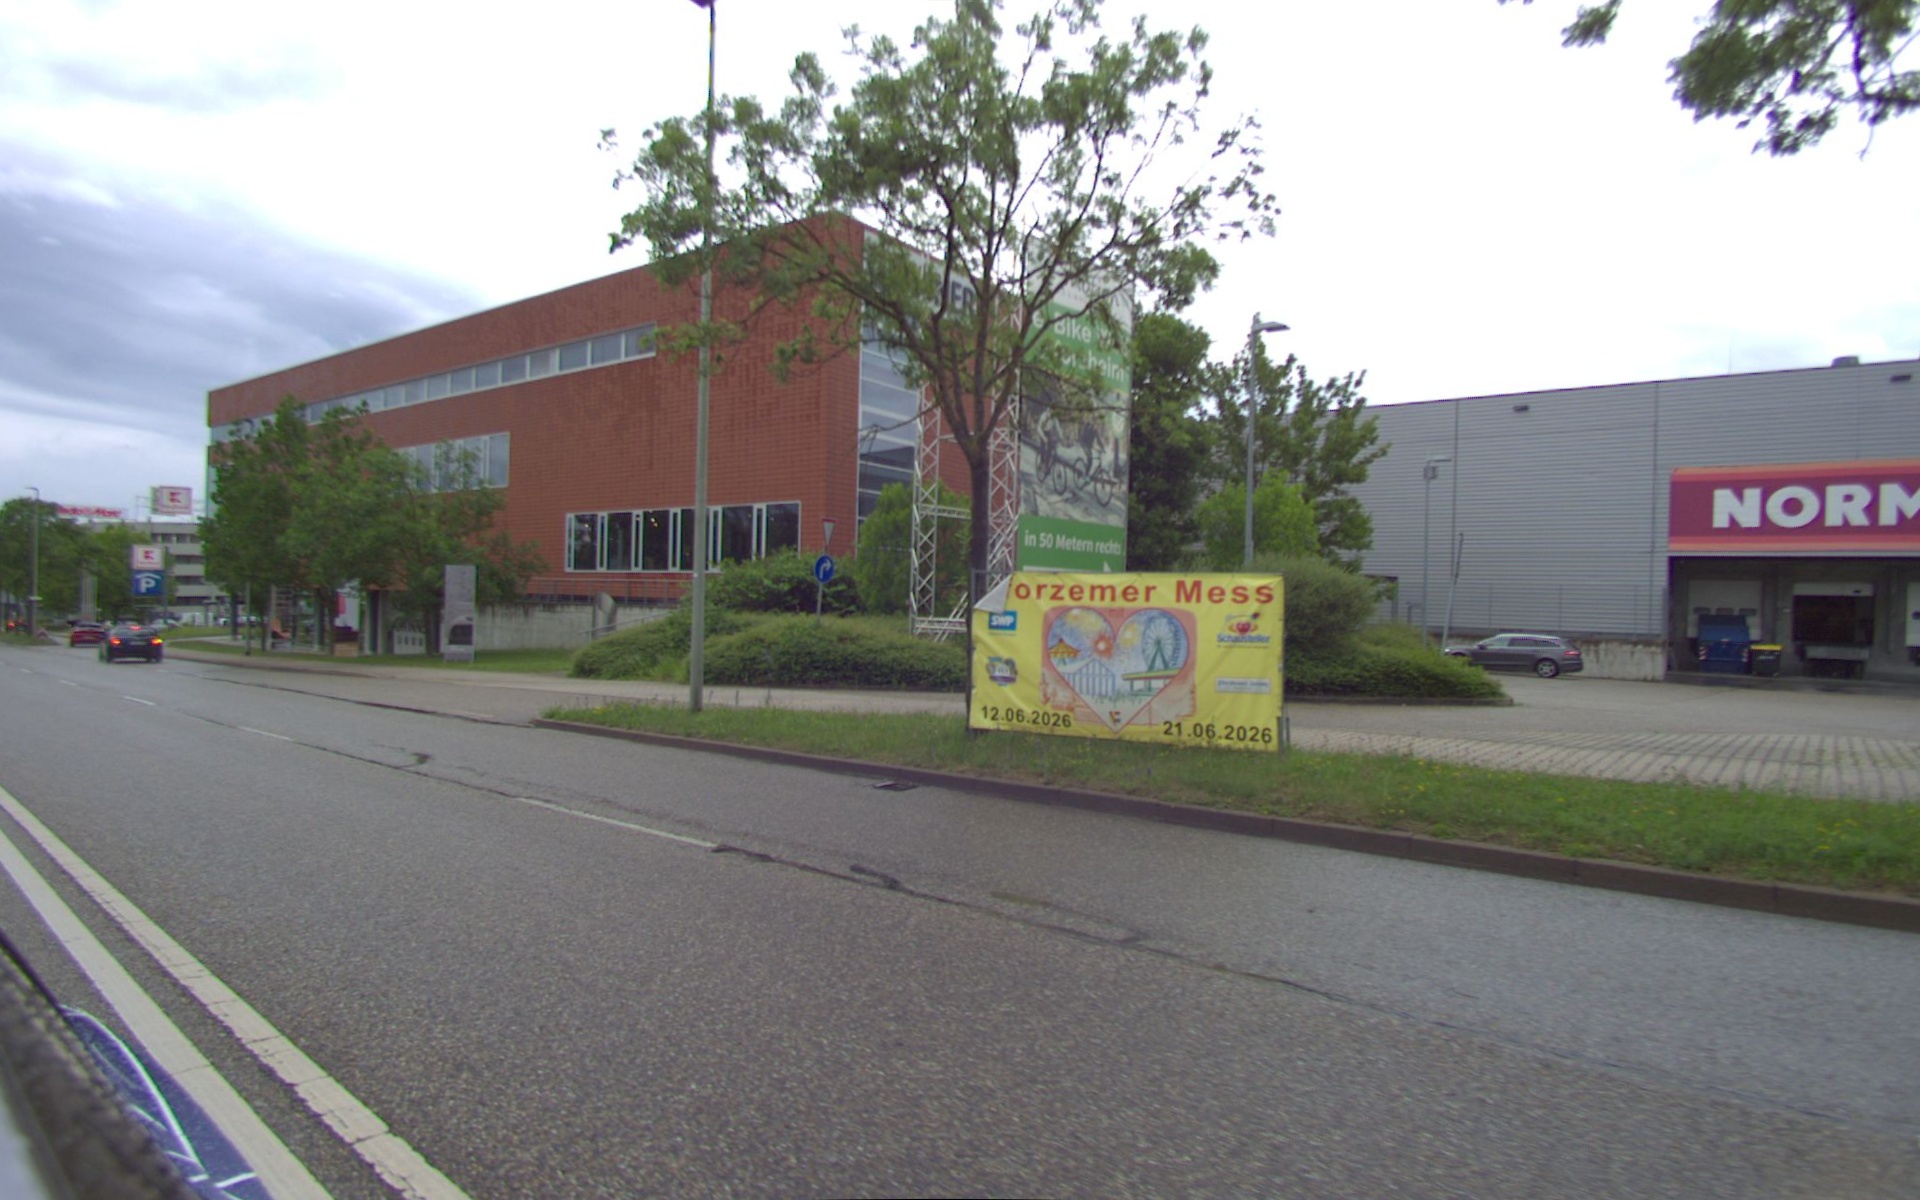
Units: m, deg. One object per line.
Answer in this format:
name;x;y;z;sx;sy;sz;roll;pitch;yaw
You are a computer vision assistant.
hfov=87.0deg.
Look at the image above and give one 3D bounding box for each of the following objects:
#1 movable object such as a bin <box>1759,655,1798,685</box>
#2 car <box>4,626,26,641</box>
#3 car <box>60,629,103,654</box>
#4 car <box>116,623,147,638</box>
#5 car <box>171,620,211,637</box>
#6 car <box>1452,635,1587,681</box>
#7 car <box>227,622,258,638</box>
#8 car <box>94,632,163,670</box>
movable object such as a bin;34.110;2.902;42.215;1.240;1.188;1.406;1;-2;39
car;-106.073;3.737;113.612;1.806;1.630;4.004;-1;0;-42
car;-54.858;2.555;63.200;4.218;1.518;1.657;-2;-3;45
car;-89.373;3.292;109.157;4.059;1.630;1.810;-1;-2;40
car;-74.041;2.747;97.456;4.429;1.630;1.812;-1;-2;35
car;20.417;2.064;36.973;4.145;1.580;1.755;-1;-2;35
car;-61.897;2.606;87.306;3.449;1.293;1.489;0;0;42
car;-33.886;2.073;41.213;1.717;1.465;4.002;3;-4;-45
